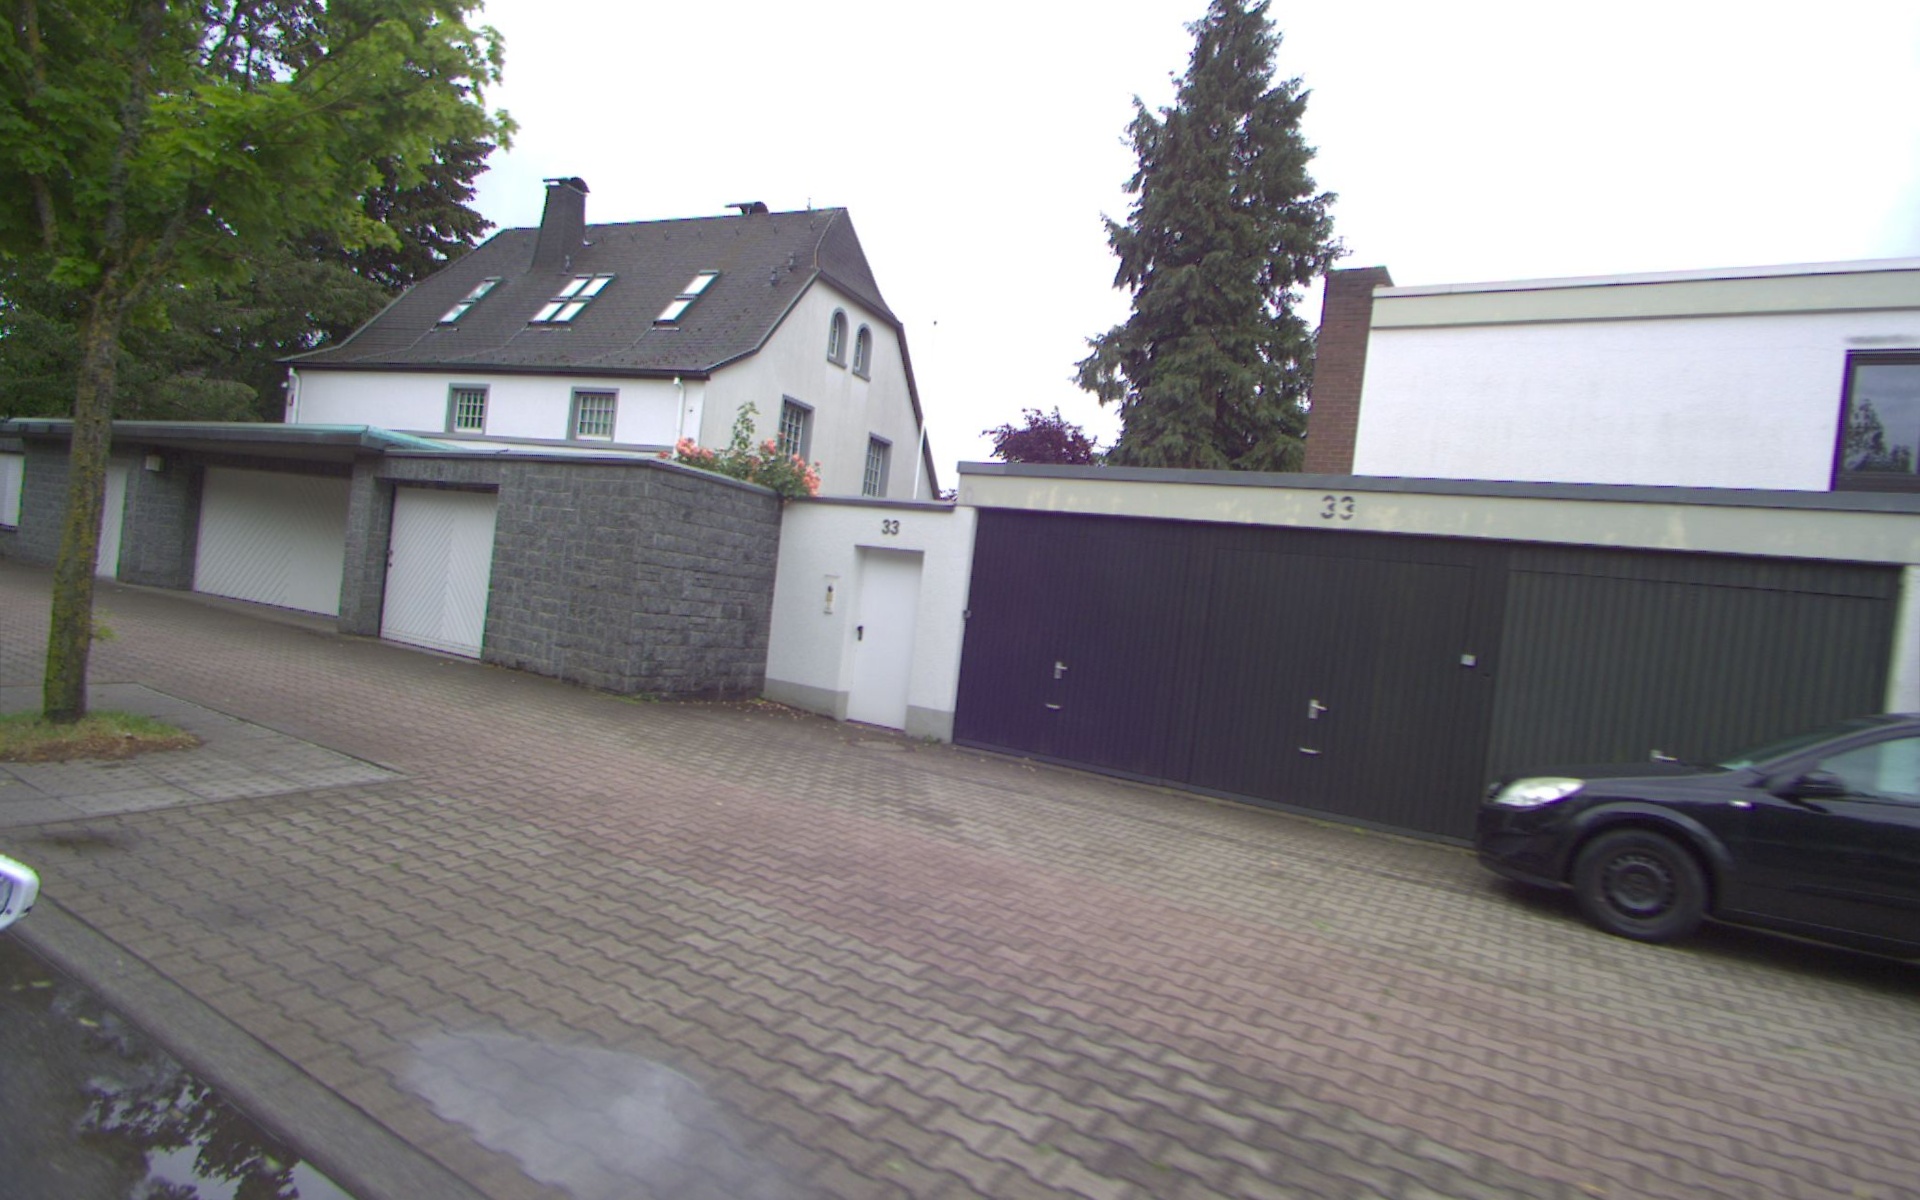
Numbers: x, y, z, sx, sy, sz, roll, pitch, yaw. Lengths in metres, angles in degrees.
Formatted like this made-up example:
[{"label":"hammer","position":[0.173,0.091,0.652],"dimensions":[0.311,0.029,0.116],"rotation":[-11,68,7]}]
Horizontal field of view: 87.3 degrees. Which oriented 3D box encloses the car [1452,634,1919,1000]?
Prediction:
[{"label":"car","position":[5.295,1.228,5.419],"dimensions":[4.469,1.517,1.772],"rotation":[7,1,32]}]
